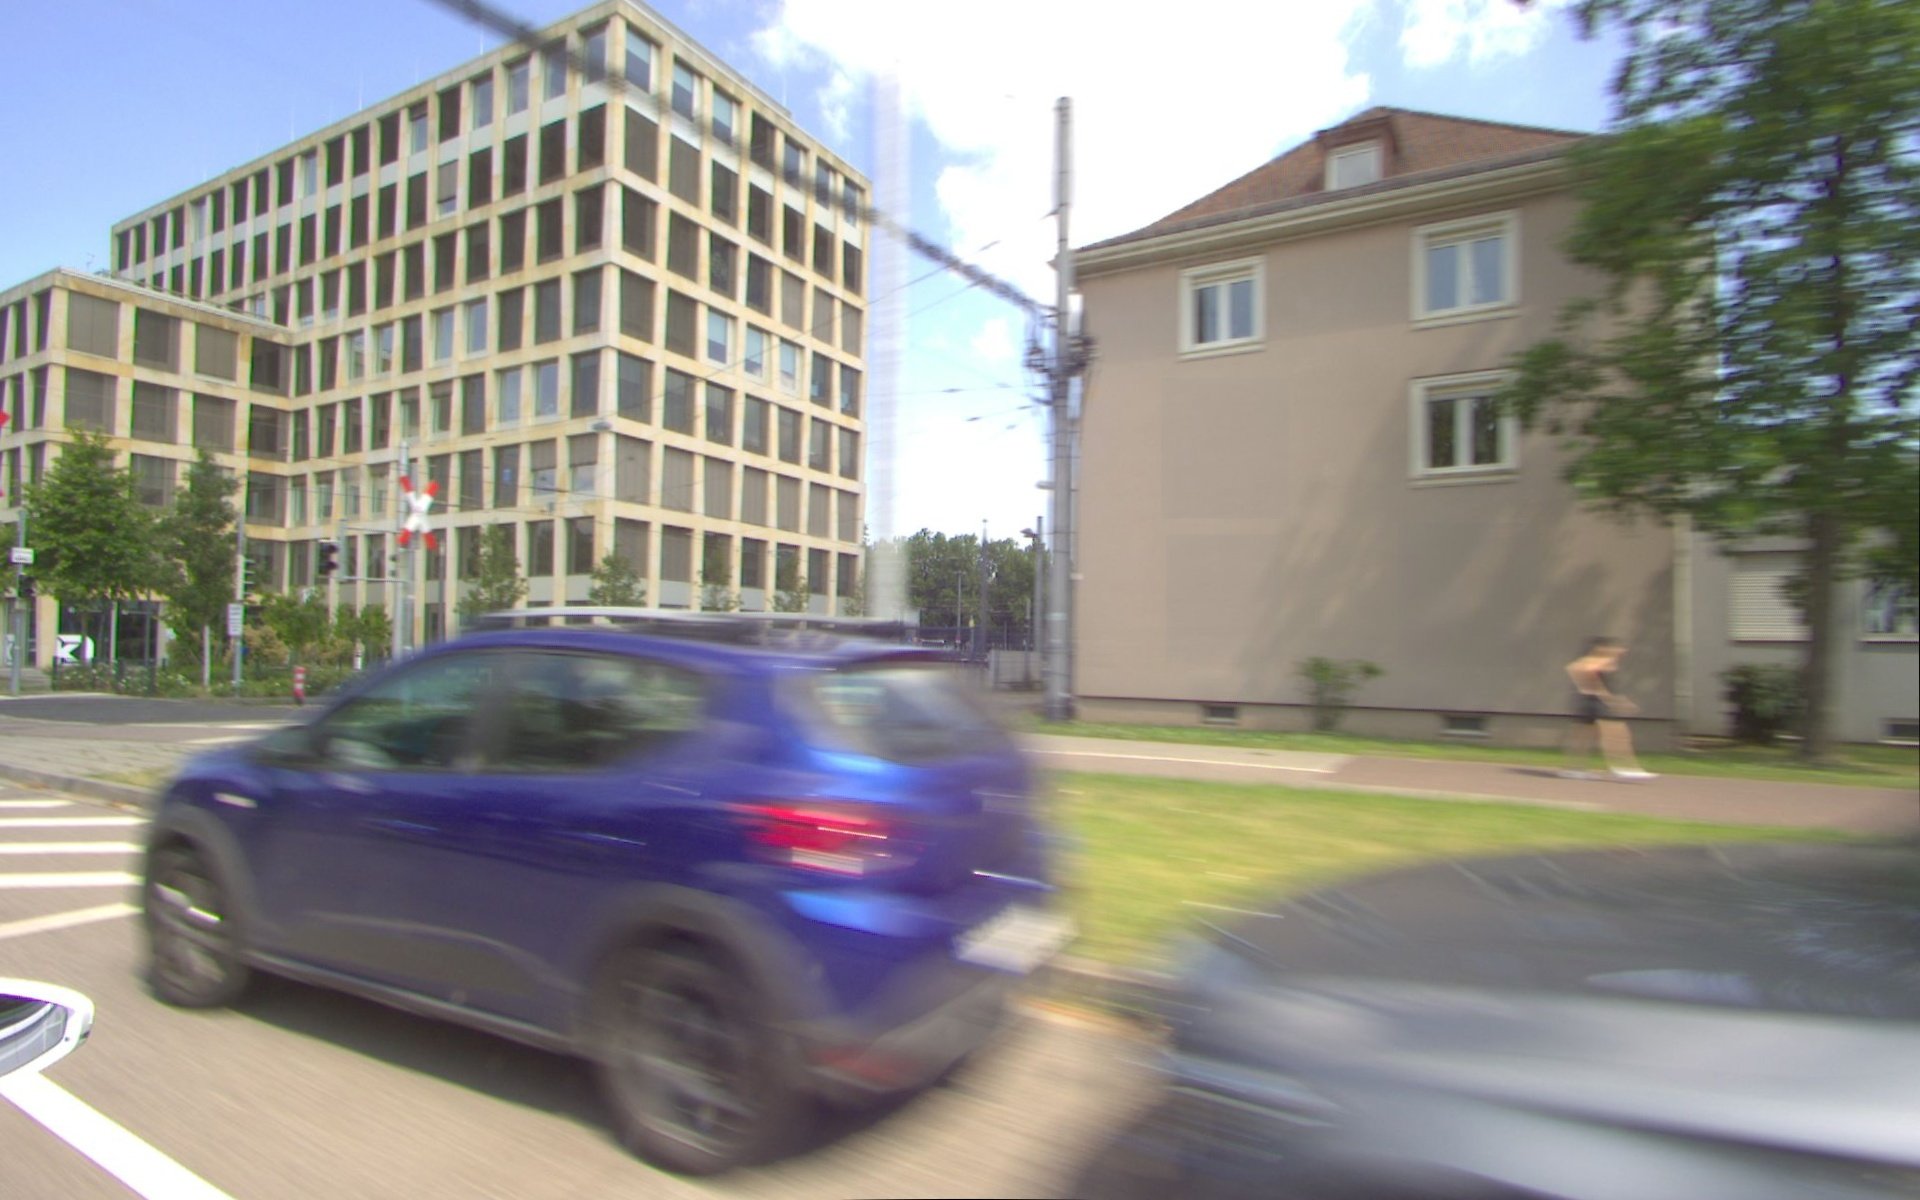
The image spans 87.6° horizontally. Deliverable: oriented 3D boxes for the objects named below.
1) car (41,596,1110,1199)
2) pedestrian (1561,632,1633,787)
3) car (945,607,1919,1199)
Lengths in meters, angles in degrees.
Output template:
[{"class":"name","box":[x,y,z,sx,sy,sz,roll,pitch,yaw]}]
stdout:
[{"class":"car","box":[-1.742,0.796,4.163,4.353,1.560,1.778,0,-1,29]},{"class":"pedestrian","box":[6.997,1.168,11.022,0.615,1.629,0.622,0,0,28]},{"class":"car","box":[2.542,0.773,1.279,4.915,1.473,1.814,0,-1,30]}]
